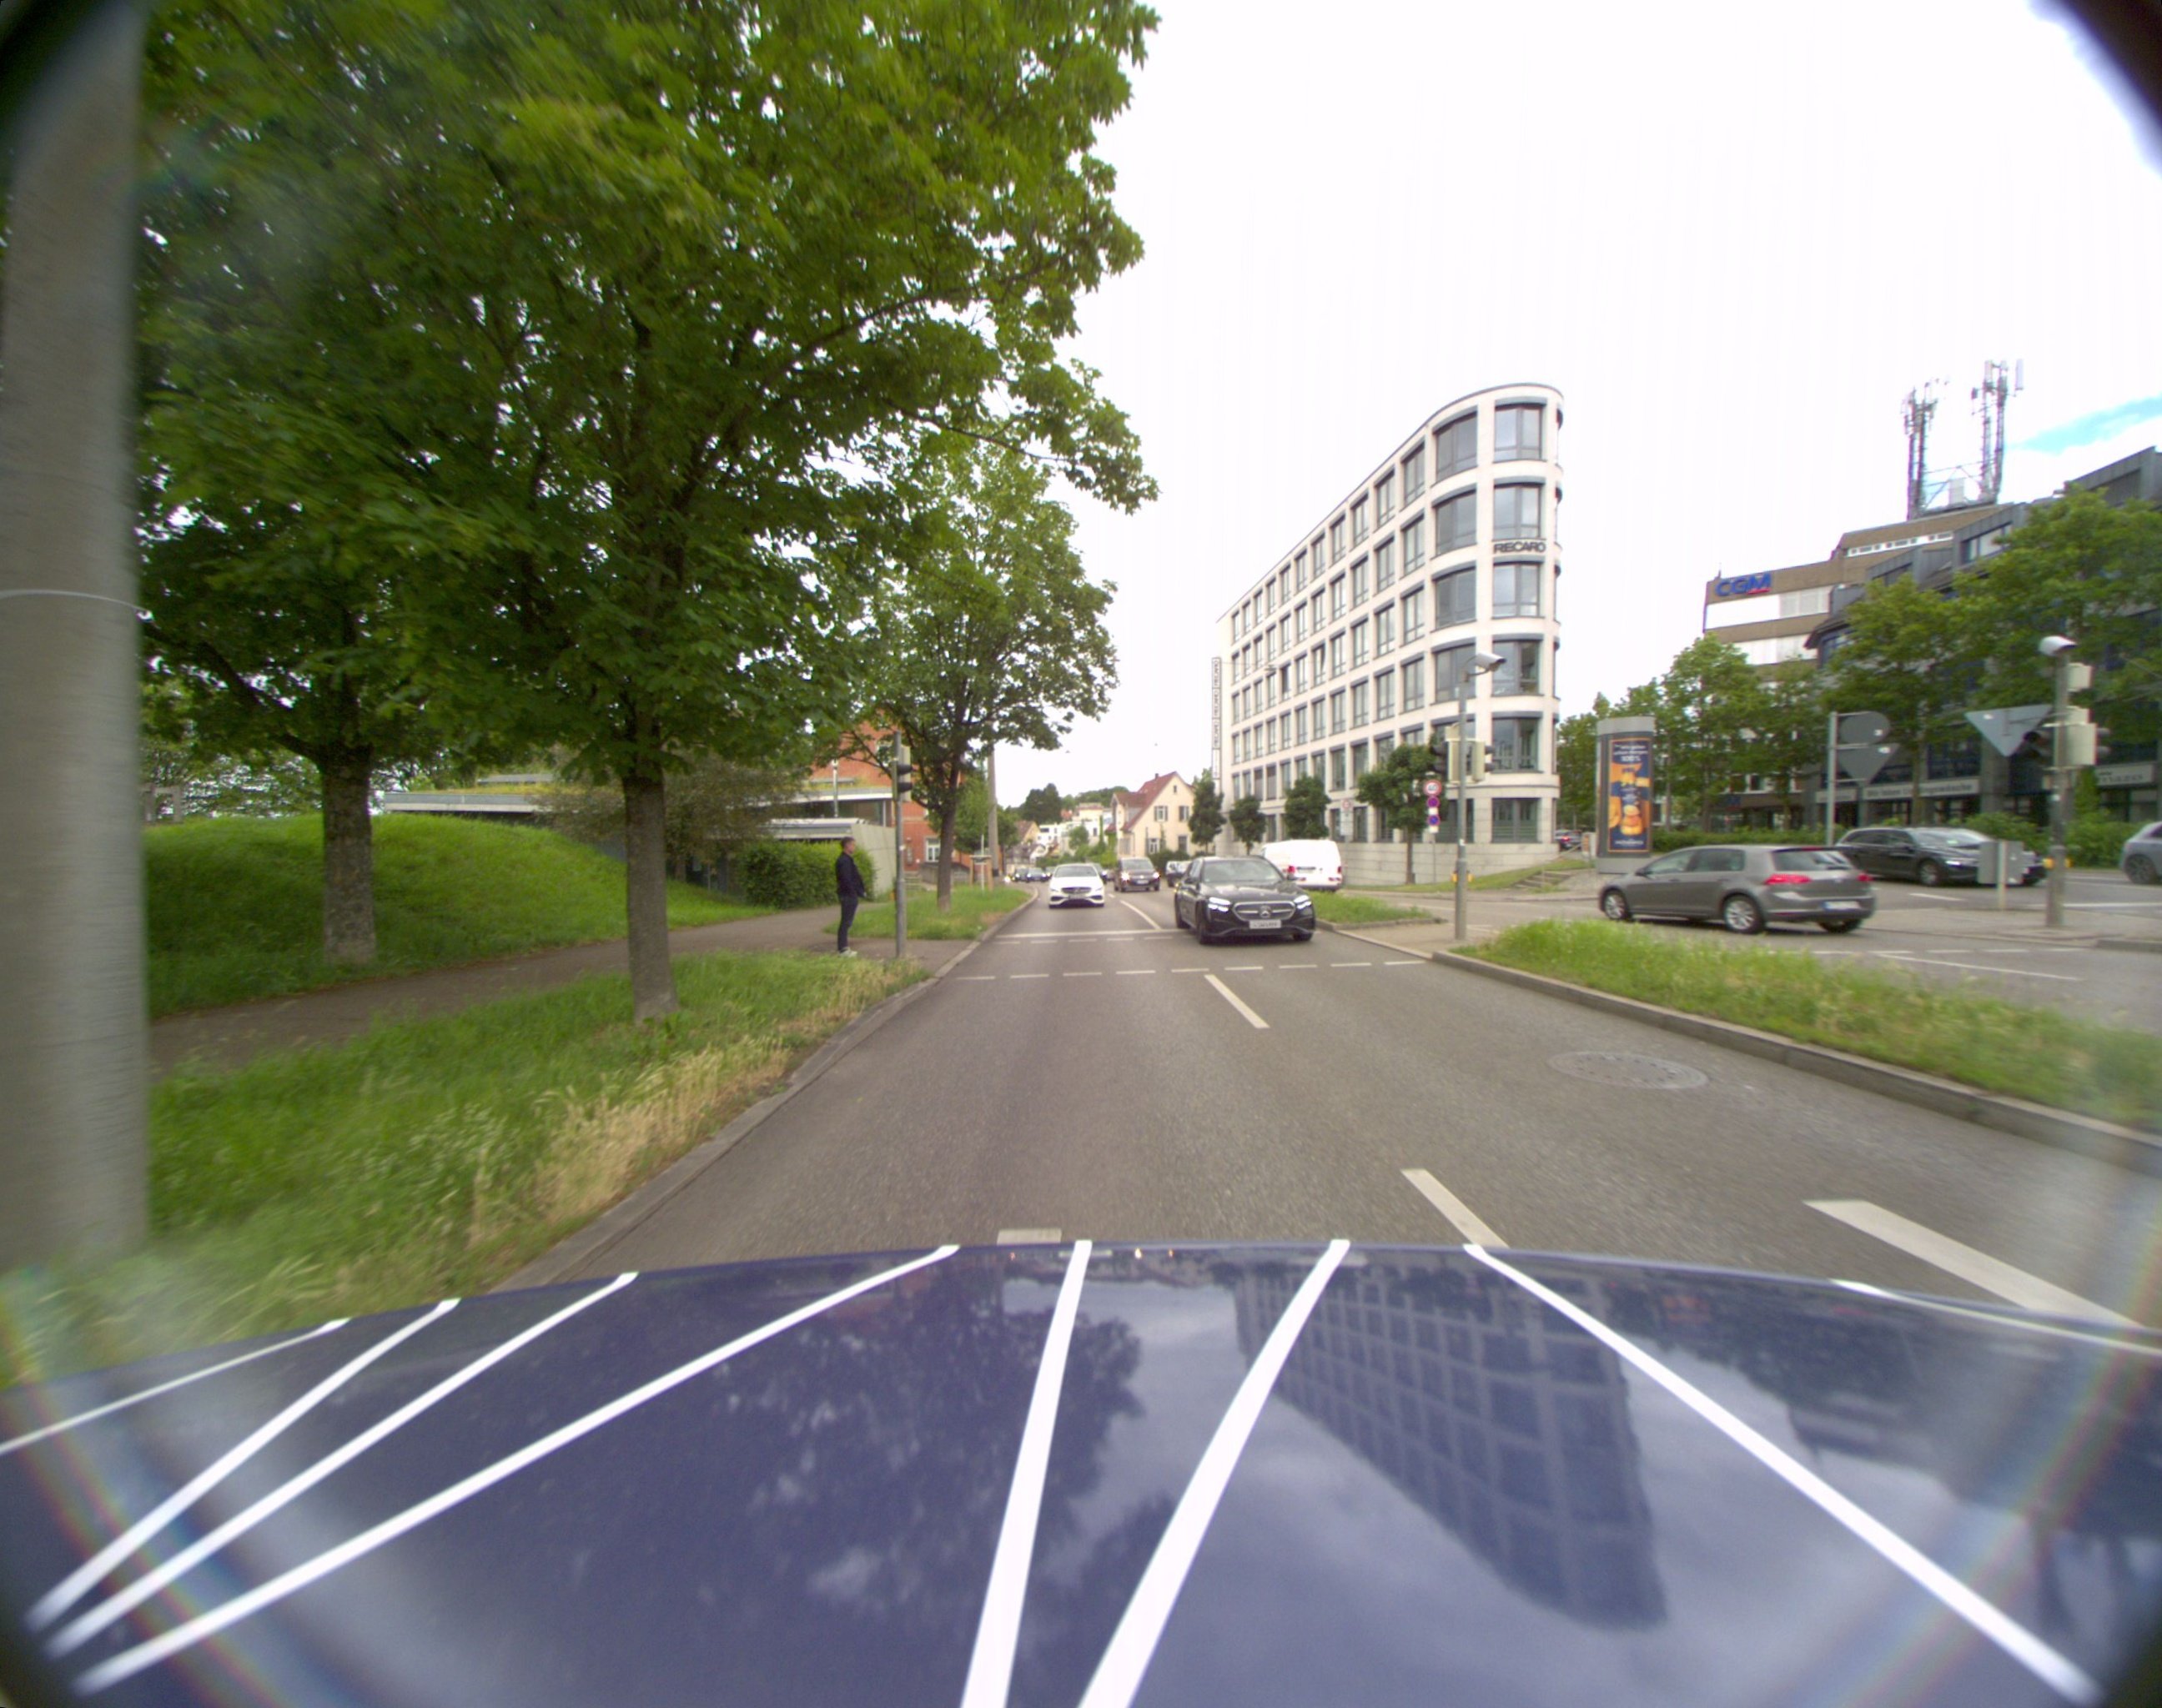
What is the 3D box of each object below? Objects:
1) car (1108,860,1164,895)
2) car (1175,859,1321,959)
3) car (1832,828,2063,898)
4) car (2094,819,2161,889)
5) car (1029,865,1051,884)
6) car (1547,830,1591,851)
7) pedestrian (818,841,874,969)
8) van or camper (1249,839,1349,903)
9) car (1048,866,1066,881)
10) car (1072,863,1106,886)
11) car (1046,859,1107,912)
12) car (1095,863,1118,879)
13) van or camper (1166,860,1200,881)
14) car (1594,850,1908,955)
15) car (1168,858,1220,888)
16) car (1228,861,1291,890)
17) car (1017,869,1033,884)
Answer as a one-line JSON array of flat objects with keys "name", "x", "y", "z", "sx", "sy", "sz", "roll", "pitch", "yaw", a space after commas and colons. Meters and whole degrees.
[{"name": "car", "x": 2.559, "y": 1.126, "z": 36.235, "sx": 1.879, "sy": 1.520, "sz": 3.999, "roll": -1, "pitch": -2, "yaw": -7}, {"name": "car", "x": 2.873, "y": 0.917, "z": 14.071, "sx": 1.878, "sy": 1.520, "sz": 4.337, "roll": -1, "pitch": -2, "yaw": 2}, {"name": "car", "x": 21.155, "y": 0.139, "z": 18.870, "sx": 1.778, "sy": 1.455, "sz": 4.445, "roll": -3, "pitch": 1, "yaw": 19}, {"name": "car", "x": 23.536, "y": -0.003, "z": 15.145, "sx": 1.778, "sy": 1.454, "sz": 4.446, "roll": -3, "pitch": 0, "yaw": 19}, {"name": "car", "x": -4.035, "y": 1.976, "z": 74.249, "sx": 1.713, "sy": 1.680, "sz": 3.790, "roll": -1, "pitch": 0, "yaw": -8}, {"name": "car", "x": 37.188, "y": -1.051, "z": 58.016, "sx": 1.715, "sy": 1.455, "sz": 4.445, "roll": -3, "pitch": 1, "yaw": 19}, {"name": "pedestrian", "x": -3.497, "y": 0.742, "z": 11.355, "sx": 0.644, "sy": 1.845, "sz": 0.672, "roll": -1, "pitch": 0, "yaw": -6}, {"name": "van or camper", "x": 7.470, "y": 0.536, "z": 26.541, "sx": 1.999, "sy": 2.002, "sz": 4.447, "roll": -1, "pitch": 0, "yaw": -3}, {"name": "car", "x": -2.845, "y": 2.235, "z": 88.838, "sx": 1.713, "sy": 1.680, "sz": 3.790, "roll": -1, "pitch": 0, "yaw": -8}, {"name": "car", "x": 0.531, "y": 1.491, "z": 54.874, "sx": 1.879, "sy": 1.520, "sz": 3.999, "roll": -1, "pitch": -2, "yaw": -7}, {"name": "car", "x": -0.079, "y": 1.002, "z": 25.732, "sx": 1.809, "sy": 1.521, "sz": 4.000, "roll": -4, "pitch": 0, "yaw": 2}, {"name": "car", "x": 2.363, "y": 1.587, "z": 70.802, "sx": 1.782, "sy": 1.472, "sz": 3.979, "roll": -1, "pitch": -1, "yaw": -4}, {"name": "van or camper", "x": 9.636, "y": 1.590, "z": 72.243, "sx": 2.066, "sy": 1.955, "sz": 4.871, "roll": -1, "pitch": -2, "yaw": -6}, {"name": "car", "x": 11.094, "y": 0.688, "z": 13.033, "sx": 1.749, "sy": 1.455, "sz": 3.999, "roll": -2, "pitch": 1, "yaw": -2}, {"name": "car", "x": 5.820, "y": 0.974, "z": 39.628, "sx": 1.782, "sy": 1.472, "sz": 4.480, "roll": 0, "pitch": -1, "yaw": -4}, {"name": "car", "x": 9.166, "y": 1.091, "z": 39.318, "sx": 1.790, "sy": 1.370, "sz": 3.948, "roll": -2, "pitch": -1, "yaw": -9}, {"name": "car", "x": -7.170, "y": 2.850, "z": 97.137, "sx": 1.713, "sy": 1.680, "sz": 3.790, "roll": -1, "pitch": 0, "yaw": -8}]
